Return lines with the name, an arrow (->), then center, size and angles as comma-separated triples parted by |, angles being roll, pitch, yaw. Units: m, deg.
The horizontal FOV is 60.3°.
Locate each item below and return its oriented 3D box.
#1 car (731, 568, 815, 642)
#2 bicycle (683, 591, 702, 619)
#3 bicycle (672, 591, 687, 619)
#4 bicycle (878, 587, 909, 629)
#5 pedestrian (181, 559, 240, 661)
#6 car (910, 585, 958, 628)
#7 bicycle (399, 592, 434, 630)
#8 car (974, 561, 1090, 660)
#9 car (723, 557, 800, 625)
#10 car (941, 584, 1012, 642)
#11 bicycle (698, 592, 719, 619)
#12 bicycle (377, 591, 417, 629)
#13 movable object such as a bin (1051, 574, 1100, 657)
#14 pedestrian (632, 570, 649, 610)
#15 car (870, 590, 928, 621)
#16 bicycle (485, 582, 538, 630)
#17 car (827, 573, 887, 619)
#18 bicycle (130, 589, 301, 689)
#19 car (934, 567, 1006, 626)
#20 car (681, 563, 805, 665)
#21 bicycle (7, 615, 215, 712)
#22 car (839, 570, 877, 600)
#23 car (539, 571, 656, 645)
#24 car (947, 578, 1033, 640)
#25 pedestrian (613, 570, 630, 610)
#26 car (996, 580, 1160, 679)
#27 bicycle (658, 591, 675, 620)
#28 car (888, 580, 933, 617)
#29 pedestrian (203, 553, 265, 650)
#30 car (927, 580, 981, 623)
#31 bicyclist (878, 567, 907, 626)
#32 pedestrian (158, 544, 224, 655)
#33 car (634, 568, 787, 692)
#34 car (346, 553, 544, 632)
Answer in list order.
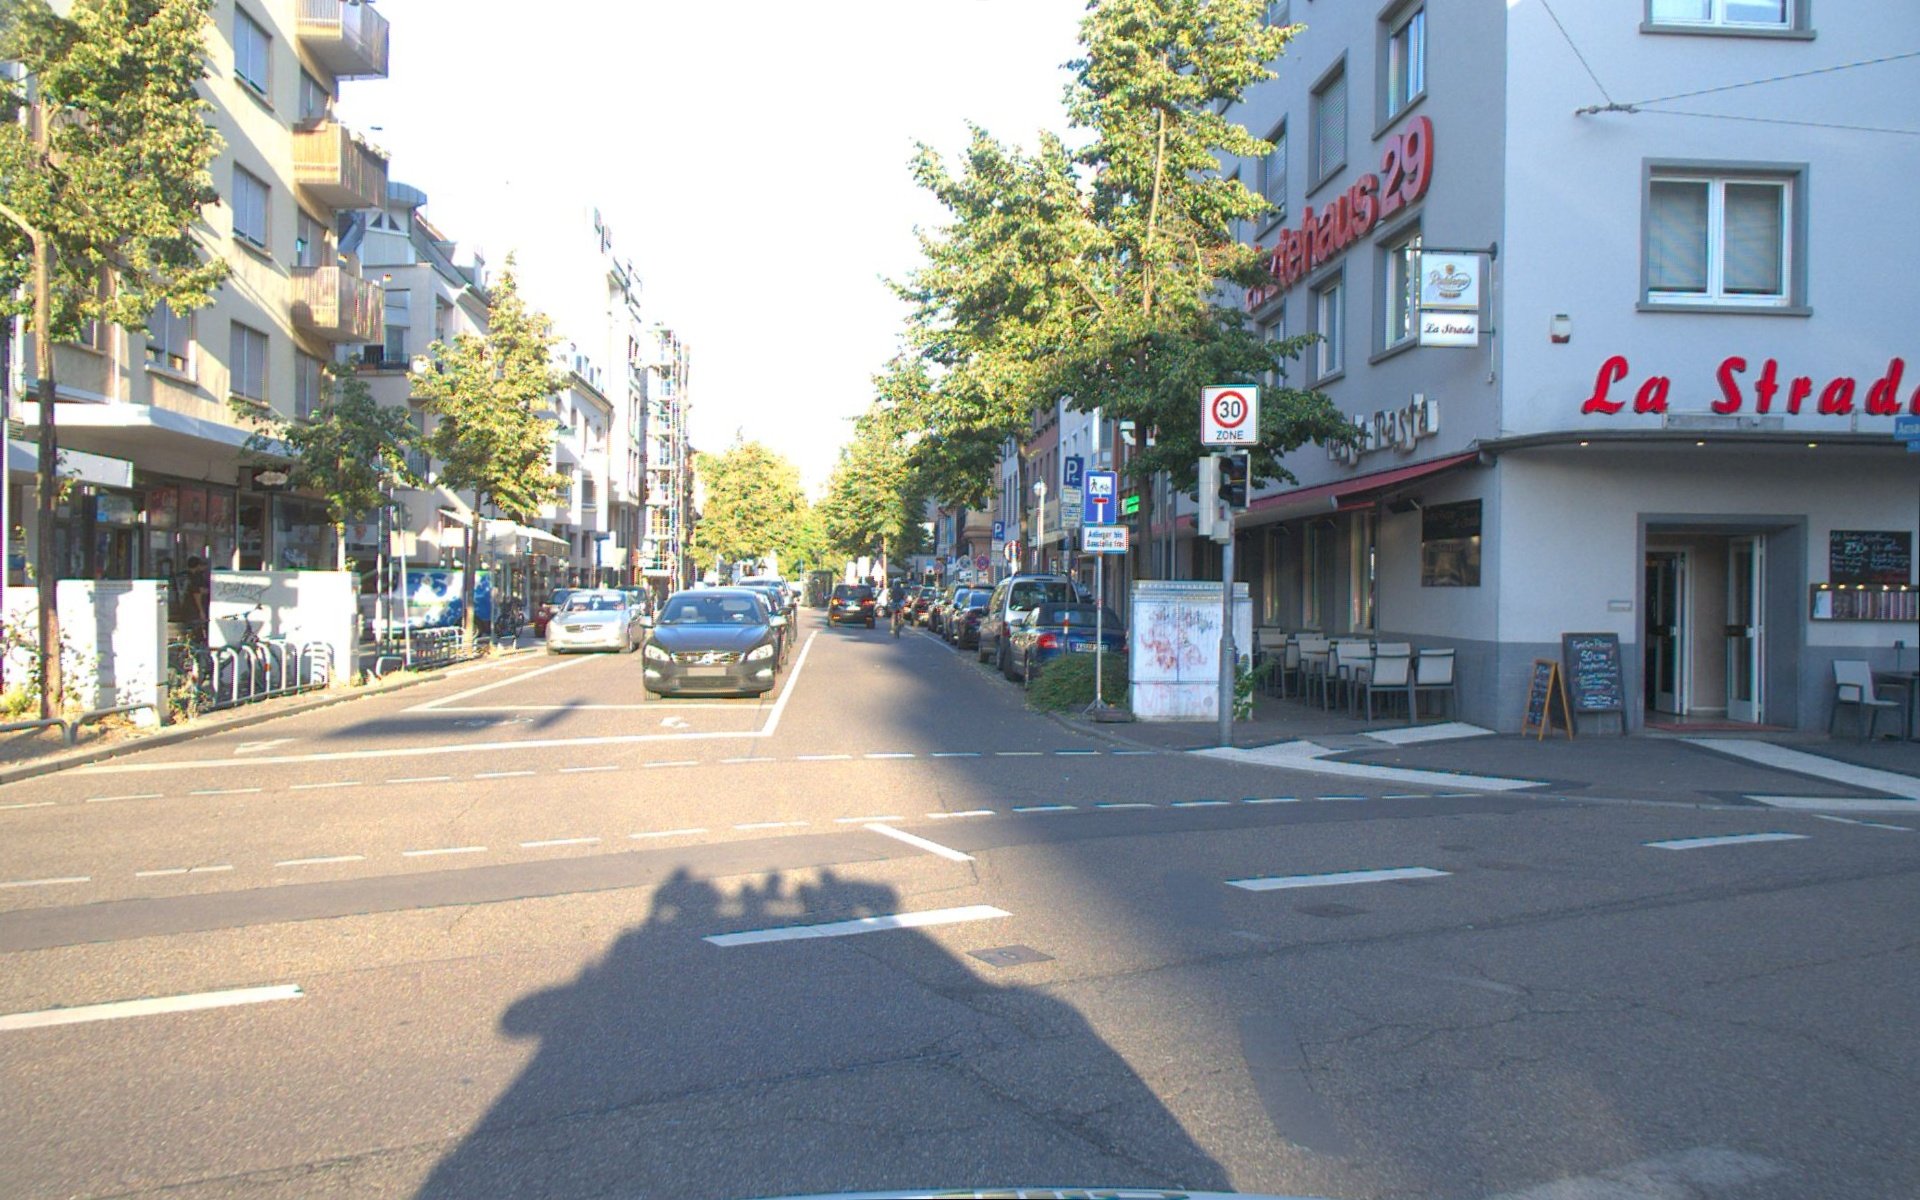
car -> -4.243, 0.120, 38.069 | 1.689, 1.577, 4.461 | 0, 0, -4
bicycle -> -14.030, 0.276, 86.678 | 0.767, 1.397, 3.132 | 2, -1, -13
bicycle -> -14.699, 0.268, 86.504 | 0.574, 1.420, 3.151 | 2, -1, -12
bicycle -> -1.973, 0.236, 48.540 | 0.766, 1.225, 2.018 | 0, 0, -6
pedestrian -> -13.747, 0.174, 30.363 | 0.726, 1.850, 0.813 | 0, 1, -2
car -> -1.113, 0.285, 69.786 | 1.776, 1.697, 4.202 | 2, -1, -4
bicycle -> -15.039, 0.299, 45.799 | 0.480, 1.009, 2.013 | 2, -1, -6
car -> 1.380, 0.171, 33.109 | 1.623, 1.809, 4.005 | 2, 1, -7
car -> -5.184, -0.211, 43.770 | 1.903, 1.673, 4.733 | 0, 0, -6
car -> 0.430, 0.387, 48.526 | 1.775, 1.554, 4.991 | 2, -1, -2
bicycle -> -13.210, 0.288, 86.883 | 0.877, 1.420, 3.156 | 1, 0, -13
bicycle -> -15.581, 0.278, 45.813 | 0.480, 1.009, 2.014 | 2, -1, -3
movable object such as a bin -> 2.580, 0.343, 37.102 | 0.819, 1.805, 1.204 | 2, -1, -8
pedestrian -> -14.664, -0.451, 75.811 | 0.704, 1.771, 0.736 | 2, -1, -12
car -> -3.286, 0.284, 88.903 | 2.913, 1.563, 1.430 | 2, -1, -9
bicycle -> -12.953, 0.178, 47.827 | 0.940, 1.323, 3.123 | 2, -1, -6
car -> -3.857, -0.122, 62.560 | 1.953, 1.629, 4.509 | 2, -1, 0
bicycle -> -9.854, 0.514, 21.937 | 1.970, 1.240, 0.491 | 2, -1, -5
car -> 0.282, -0.092, 54.766 | 1.847, 1.785, 5.053 | 2, -1, -5
car -> -3.814, 0.249, 29.799 | 1.907, 1.673, 4.611 | 0, 0, -4
bicycle -> -9.443, 0.703, 18.446 | 1.972, 1.009, 0.490 | 2, -1, -9
car -> -7.186, -1.022, 115.995 | 2.223, 1.796, 4.502 | 7, -1, -7
car -> -8.263, 0.180, 38.065 | 1.954, 1.538, 4.505 | -2, 0, -4
car -> 0.711, 0.200, 42.324 | 1.718, 1.445, 4.505 | 2, 0, -5
pedestrian -> -15.481, -0.476, 75.722 | 0.704, 1.798, 0.692 | 2, -1, -12
car -> 1.799, 0.432, 26.598 | 1.899, 1.400, 4.177 | 2, 0, -6
bicycle -> -15.346, 0.288, 86.344 | 0.708, 1.420, 3.143 | 2, -1, -12
car -> -2.527, -0.087, 83.128 | 1.790, 1.724, 4.362 | 2, 0, -7
pedestrian -> -13.072, 0.026, 29.779 | 0.755, 1.705, 0.740 | 1, 0, 38
car -> -0.261, 0.076, 61.882 | 1.727, 1.509, 4.303 | 2, -1, -4
bicyclist -> -1.986, -0.099, 48.543 | 0.766, 1.726, 1.006 | 0, -1, -7
pedestrian -> -13.235, -0.023, 28.475 | 0.751, 1.880, 0.743 | 1, 1, 5
car -> -3.432, 0.350, 23.421 | 1.920, 1.574, 4.504 | 0, 1, -6
car -> -13.634, -0.175, 43.784 | 4.798, 1.860, 1.986 | 2, -1, -23
